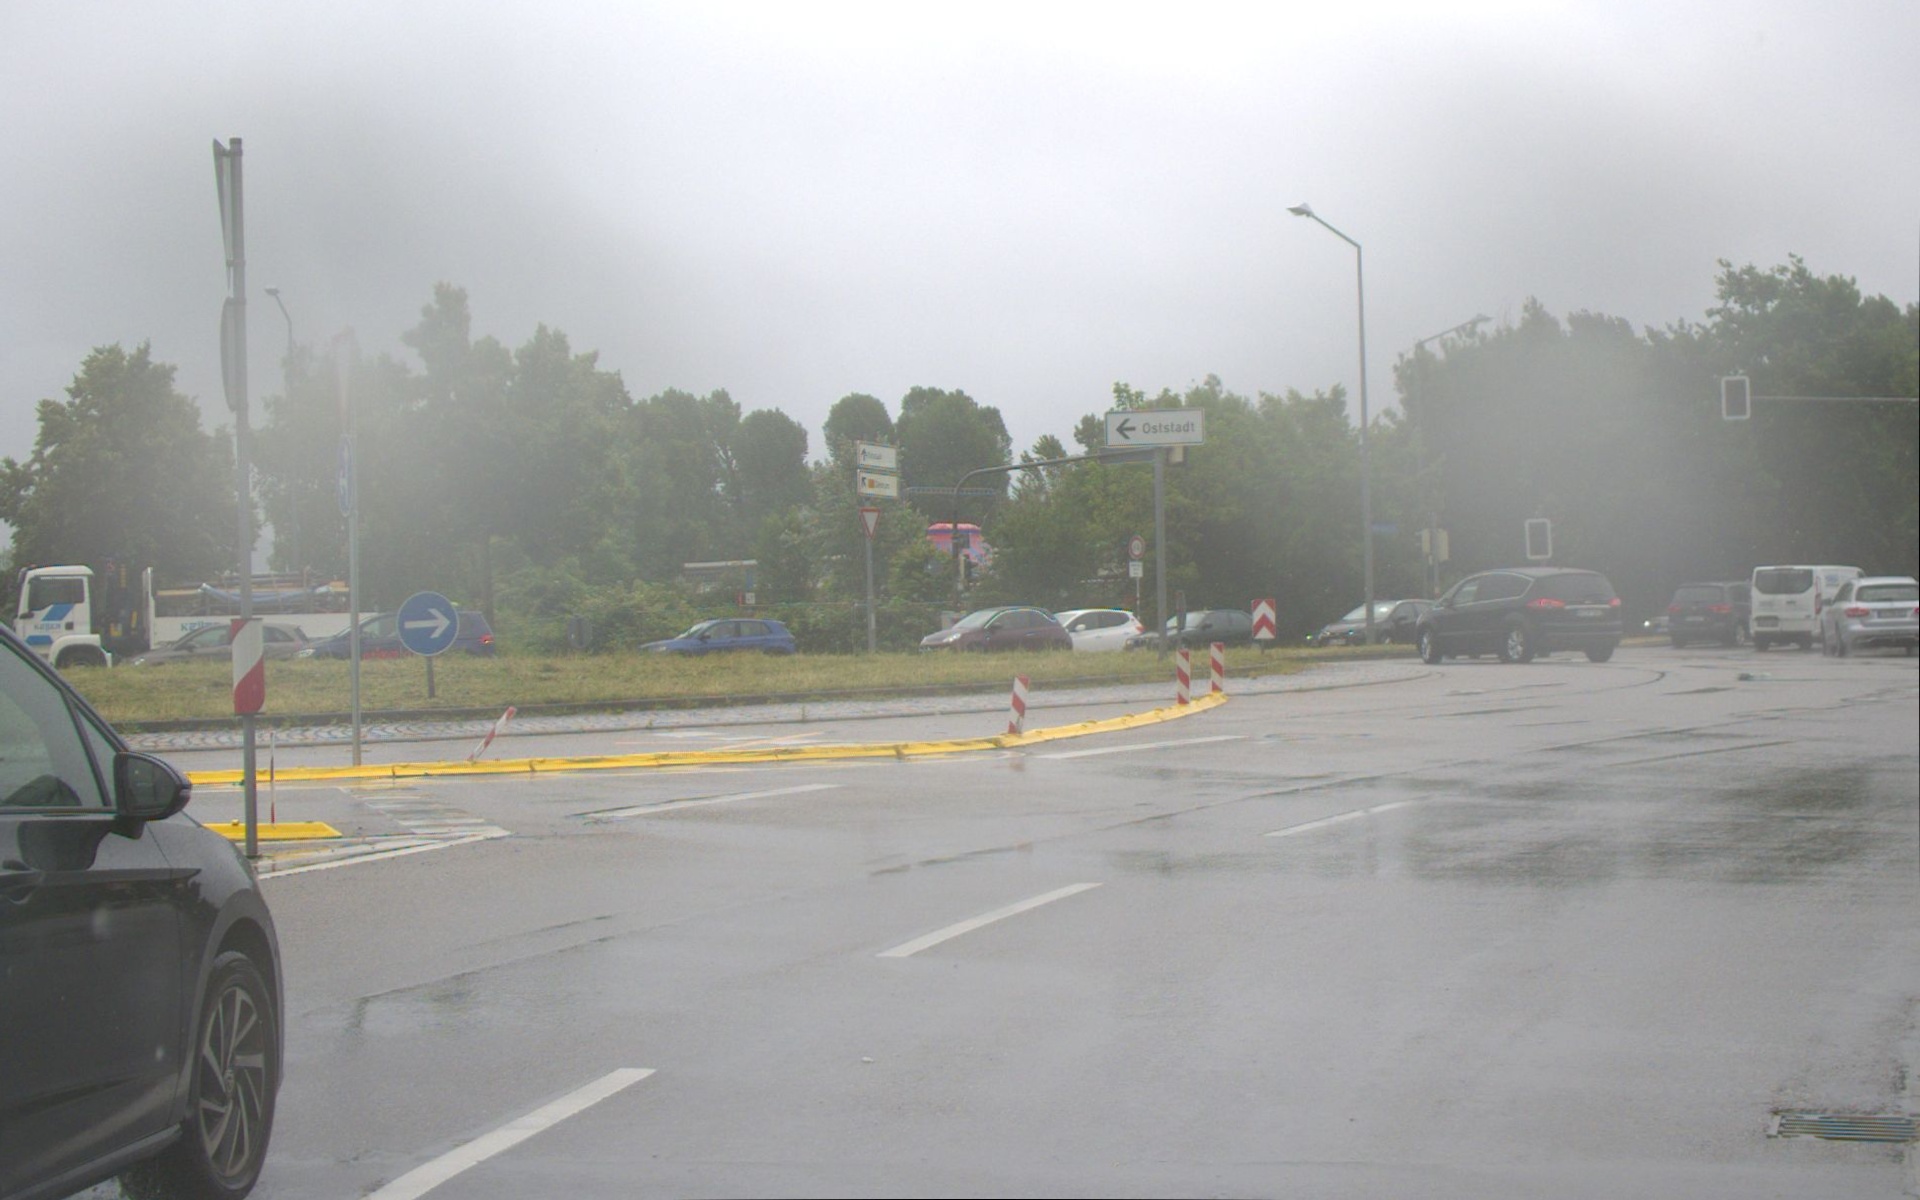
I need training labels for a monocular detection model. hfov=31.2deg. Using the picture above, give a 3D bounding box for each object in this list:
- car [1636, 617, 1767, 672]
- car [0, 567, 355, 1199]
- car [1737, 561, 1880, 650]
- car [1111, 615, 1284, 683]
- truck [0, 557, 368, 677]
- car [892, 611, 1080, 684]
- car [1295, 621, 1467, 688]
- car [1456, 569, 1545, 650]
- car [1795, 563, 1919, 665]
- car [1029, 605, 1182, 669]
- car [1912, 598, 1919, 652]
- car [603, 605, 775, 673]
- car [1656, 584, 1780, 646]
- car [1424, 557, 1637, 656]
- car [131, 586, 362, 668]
[{"bbox_3d":[21.642,1.298,100.238,3.988,1.569,1.676,1,-1,-41],"label":"car"},{"bbox_3d":[-2.644,0.685,6.657,1.783,1.512,4.331,1,0,6],"label":"car"},{"bbox_3d":[20.064,0.139,81.195,1.787,2.029,3.991,0,-1,38],"label":"car"},{"bbox_3d":[6.035,1.243,87.320,3.986,1.642,1.789,1,0,-19],"label":"car"},{"bbox_3d":[-18.587,0.425,81.653,8.766,2.702,2.001,1,-1,-14],"label":"truck"},{"bbox_3d":[0.597,1.106,79.824,3.986,1.642,1.789,1,0,-18],"label":"car"},{"bbox_3d":[10.713,1.387,87.497,3.986,1.642,1.789,1,-1,-24],"label":"car"},{"bbox_3d":[11.393,0.214,72.304,1.681,1.642,3.945,1,0,11],"label":"car"},{"bbox_3d":[16.956,0.250,63.976,1.783,1.804,4.837,-1,0,2],"label":"car"},{"bbox_3d":[3.900,0.993,91.606,3.989,1.642,1.788,1,-1,-44],"label":"car"},{"bbox_3d":[27.962,0.659,96.300,1.691,1.487,3.245,-1,0,30],"label":"car"},{"bbox_3d":[-6.750,0.965,85.531,3.986,1.642,1.789,1,0,-15],"label":"car"},{"bbox_3d":[18.916,0.381,85.711,1.693,1.487,3.243,0,-1,40],"label":"car"},{"bbox_3d":[9.840,0.110,59.577,1.783,1.642,4.001,1,0,-22],"label":"car"},{"bbox_3d":[-16.054,0.609,77.506,4.849,1.738,1.778,1,0,-3],"label":"car"}]
